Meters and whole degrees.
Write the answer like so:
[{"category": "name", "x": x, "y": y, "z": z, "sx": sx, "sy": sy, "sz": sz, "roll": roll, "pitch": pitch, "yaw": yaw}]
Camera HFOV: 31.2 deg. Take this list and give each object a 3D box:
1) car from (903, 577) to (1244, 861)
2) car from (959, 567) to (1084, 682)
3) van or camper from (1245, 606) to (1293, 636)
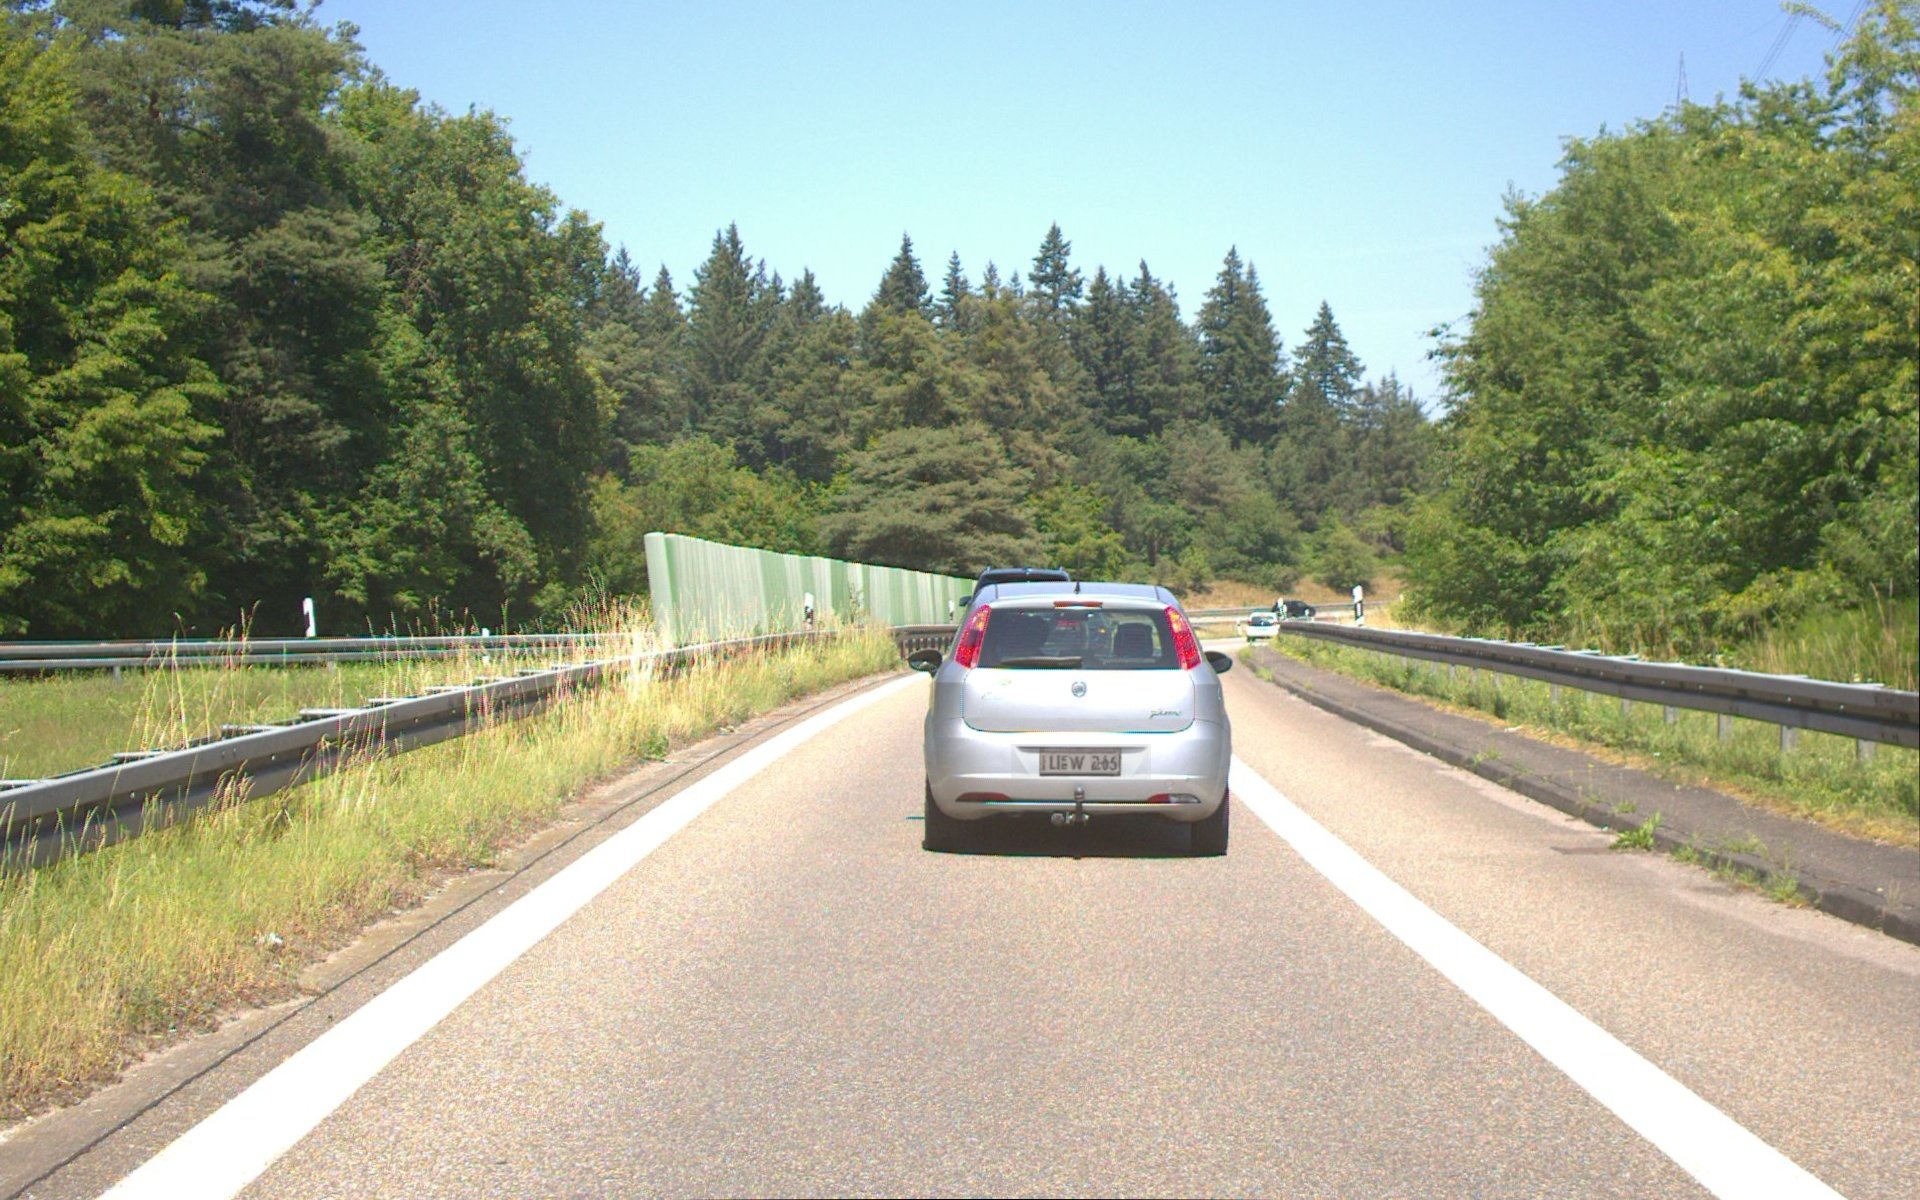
[{"category": "car", "x": 0.567, "y": 0.614, "z": 19.699, "sx": 1.706, "sy": 1.477, "sz": 3.398, "roll": 1, "pitch": 0, "yaw": -2}, {"category": "car", "x": 0.901, "y": 0.352, "z": 52.365, "sx": 1.706, "sy": 1.670, "sz": 3.398, "roll": 1, "pitch": 0, "yaw": -2}, {"category": "van or camper", "x": 15.544, "y": 1.044, "z": 172.793, "sx": 1.808, "sy": 1.481, "sz": 3.998, "roll": 0, "pitch": 0, "yaw": 14}]
